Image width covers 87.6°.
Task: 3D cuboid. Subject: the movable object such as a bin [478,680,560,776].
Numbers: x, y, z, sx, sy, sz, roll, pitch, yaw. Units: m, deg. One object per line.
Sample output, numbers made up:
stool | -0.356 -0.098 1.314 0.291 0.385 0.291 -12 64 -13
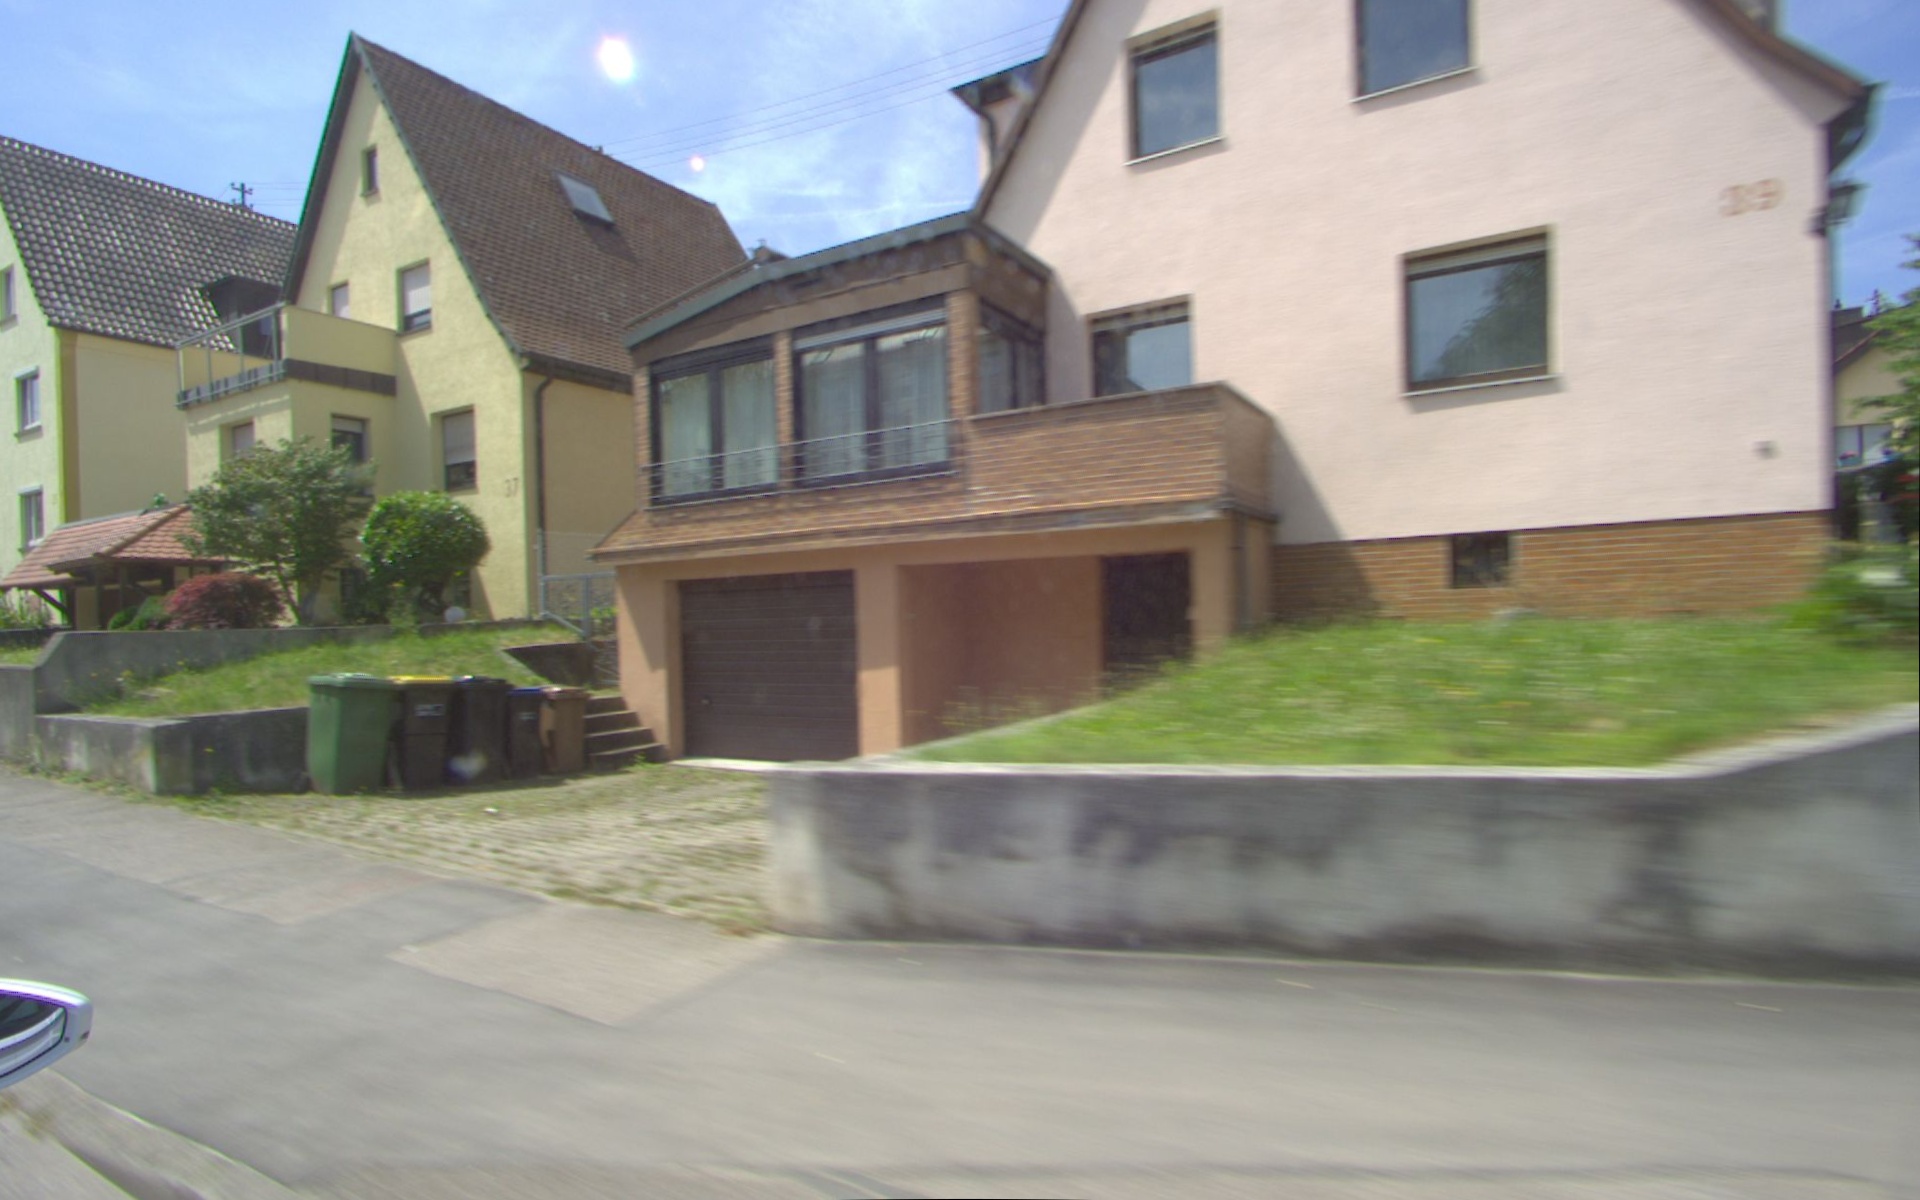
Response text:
movable object such as a bin | -4.695 1.351 10.675 0.555 0.962 0.528 0 -5 32

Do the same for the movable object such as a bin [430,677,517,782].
movable object such as a bin | -4.938 1.301 10.175 0.555 1.001 0.528 0 -5 32

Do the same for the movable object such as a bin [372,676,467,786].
movable object such as a bin | -5.233 1.260 9.706 0.555 1.001 0.528 0 -6 32

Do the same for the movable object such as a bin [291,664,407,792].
movable object such as a bin | -5.578 1.147 9.144 0.723 1.091 0.583 0 -4 32

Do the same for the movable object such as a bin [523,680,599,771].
movable object such as a bin | -4.454 1.387 11.189 0.555 0.963 0.528 0 -3 32
